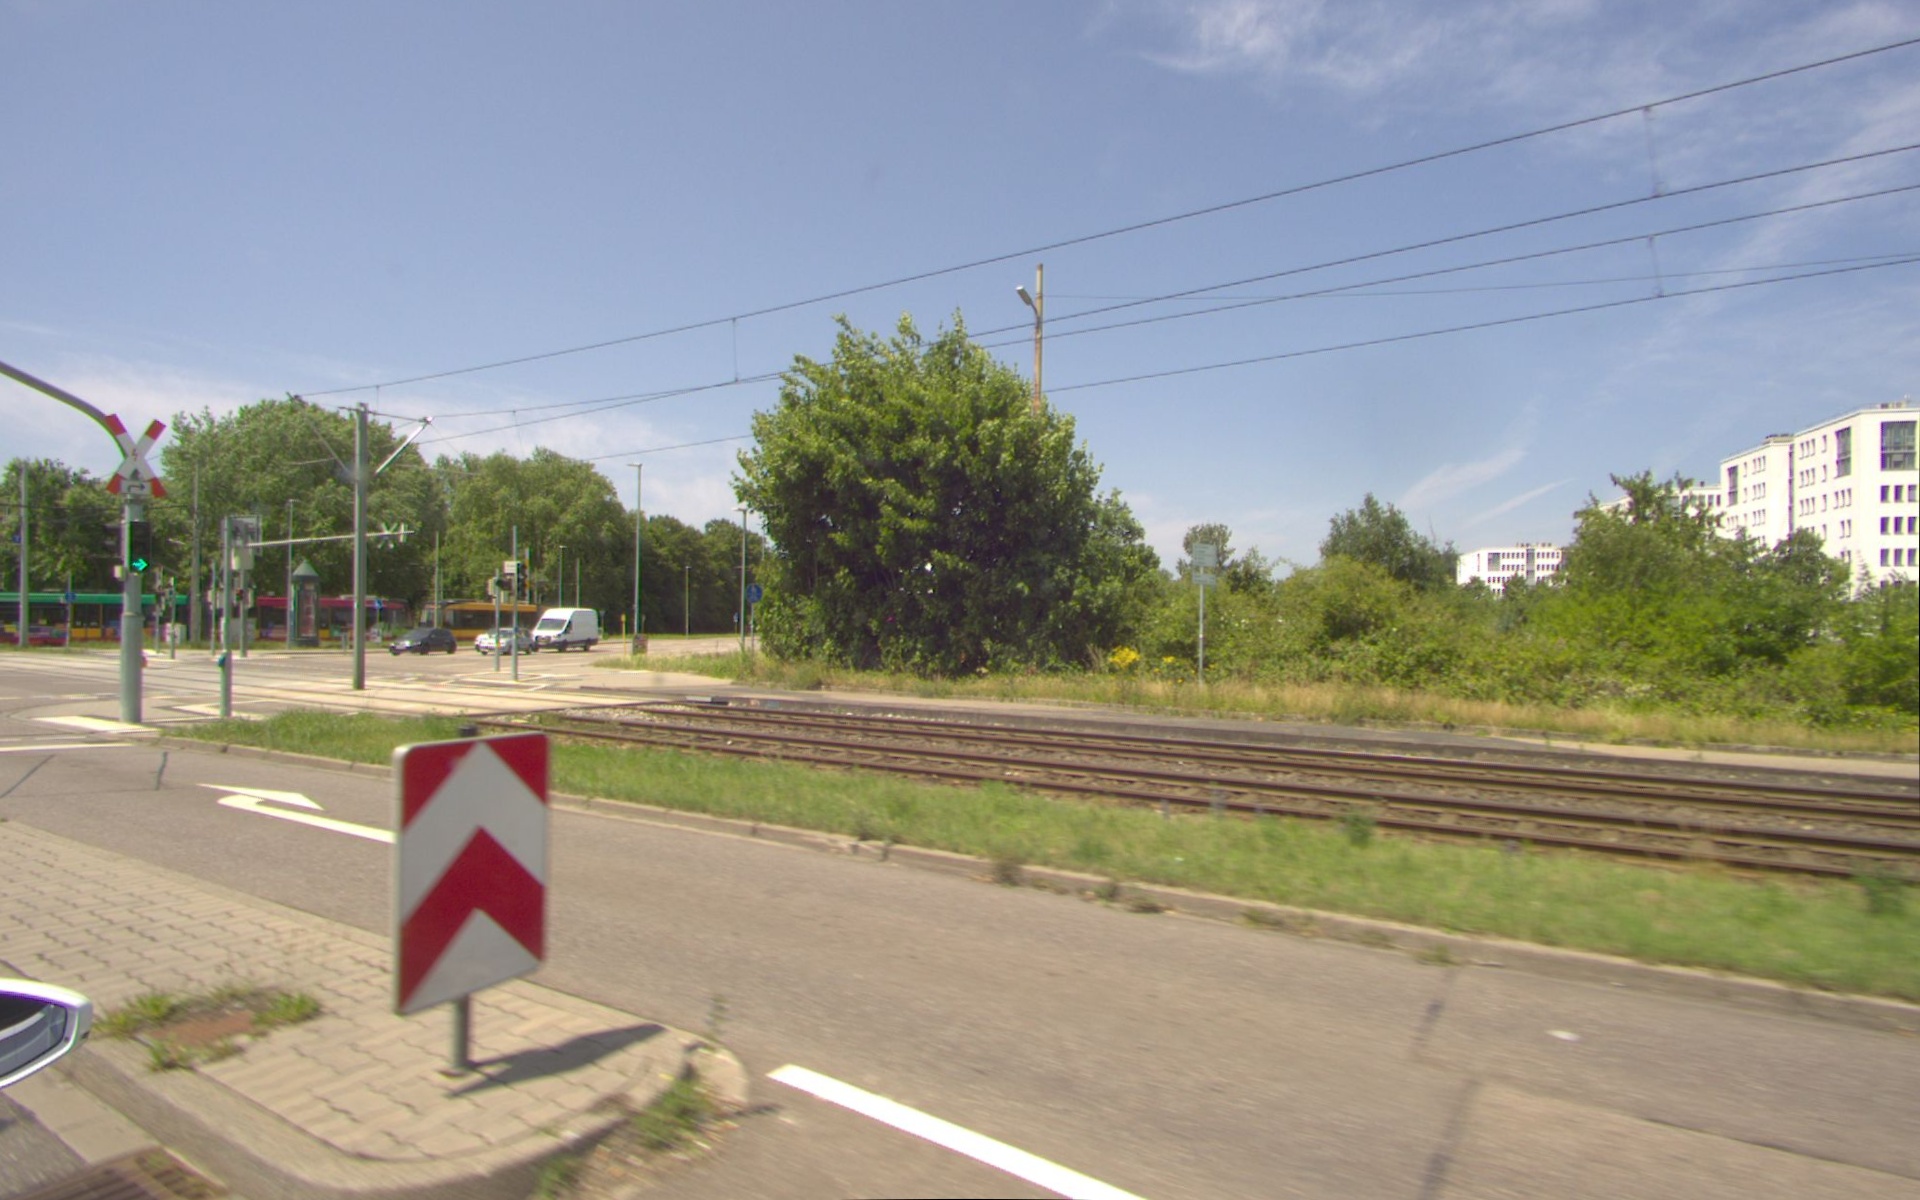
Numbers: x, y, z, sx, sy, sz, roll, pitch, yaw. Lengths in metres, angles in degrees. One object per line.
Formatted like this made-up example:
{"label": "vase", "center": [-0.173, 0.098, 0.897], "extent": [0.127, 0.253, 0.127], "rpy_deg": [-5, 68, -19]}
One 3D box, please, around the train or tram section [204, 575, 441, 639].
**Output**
{"label": "train or tram section", "center": [-44.780, 0.706, 71.090], "extent": [2.894, 3.966, 13.923], "rpy_deg": [-4, -5, 43]}

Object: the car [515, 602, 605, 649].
{"label": "car", "center": [-25.530, 1.629, 64.359], "extent": [2.664, 2.838, 7.286], "rpy_deg": [1, -1, 1]}

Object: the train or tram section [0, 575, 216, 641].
{"label": "train or tram section", "center": [-55.652, 0.557, 63.480], "extent": [13.231, 3.857, 2.918], "rpy_deg": [0, -4, -21]}

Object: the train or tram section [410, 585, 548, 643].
{"label": "train or tram section", "center": [-39.296, 1.365, 82.754], "extent": [2.868, 3.965, 13.974], "rpy_deg": [-2, -4, 9]}

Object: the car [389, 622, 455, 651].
{"label": "car", "center": [-28.845, 1.941, 53.801], "extent": [1.608, 1.482, 3.509], "rpy_deg": [1, -1, 1]}

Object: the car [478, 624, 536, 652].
{"label": "car", "center": [-25.501, 2.107, 56.448], "extent": [1.608, 1.481, 3.807], "rpy_deg": [1, -1, -2]}

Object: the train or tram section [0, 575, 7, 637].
{"label": "train or tram section", "center": [-66.537, 0.465, 62.089], "extent": [12.821, 3.857, 2.926], "rpy_deg": [-1, -3, 5]}
